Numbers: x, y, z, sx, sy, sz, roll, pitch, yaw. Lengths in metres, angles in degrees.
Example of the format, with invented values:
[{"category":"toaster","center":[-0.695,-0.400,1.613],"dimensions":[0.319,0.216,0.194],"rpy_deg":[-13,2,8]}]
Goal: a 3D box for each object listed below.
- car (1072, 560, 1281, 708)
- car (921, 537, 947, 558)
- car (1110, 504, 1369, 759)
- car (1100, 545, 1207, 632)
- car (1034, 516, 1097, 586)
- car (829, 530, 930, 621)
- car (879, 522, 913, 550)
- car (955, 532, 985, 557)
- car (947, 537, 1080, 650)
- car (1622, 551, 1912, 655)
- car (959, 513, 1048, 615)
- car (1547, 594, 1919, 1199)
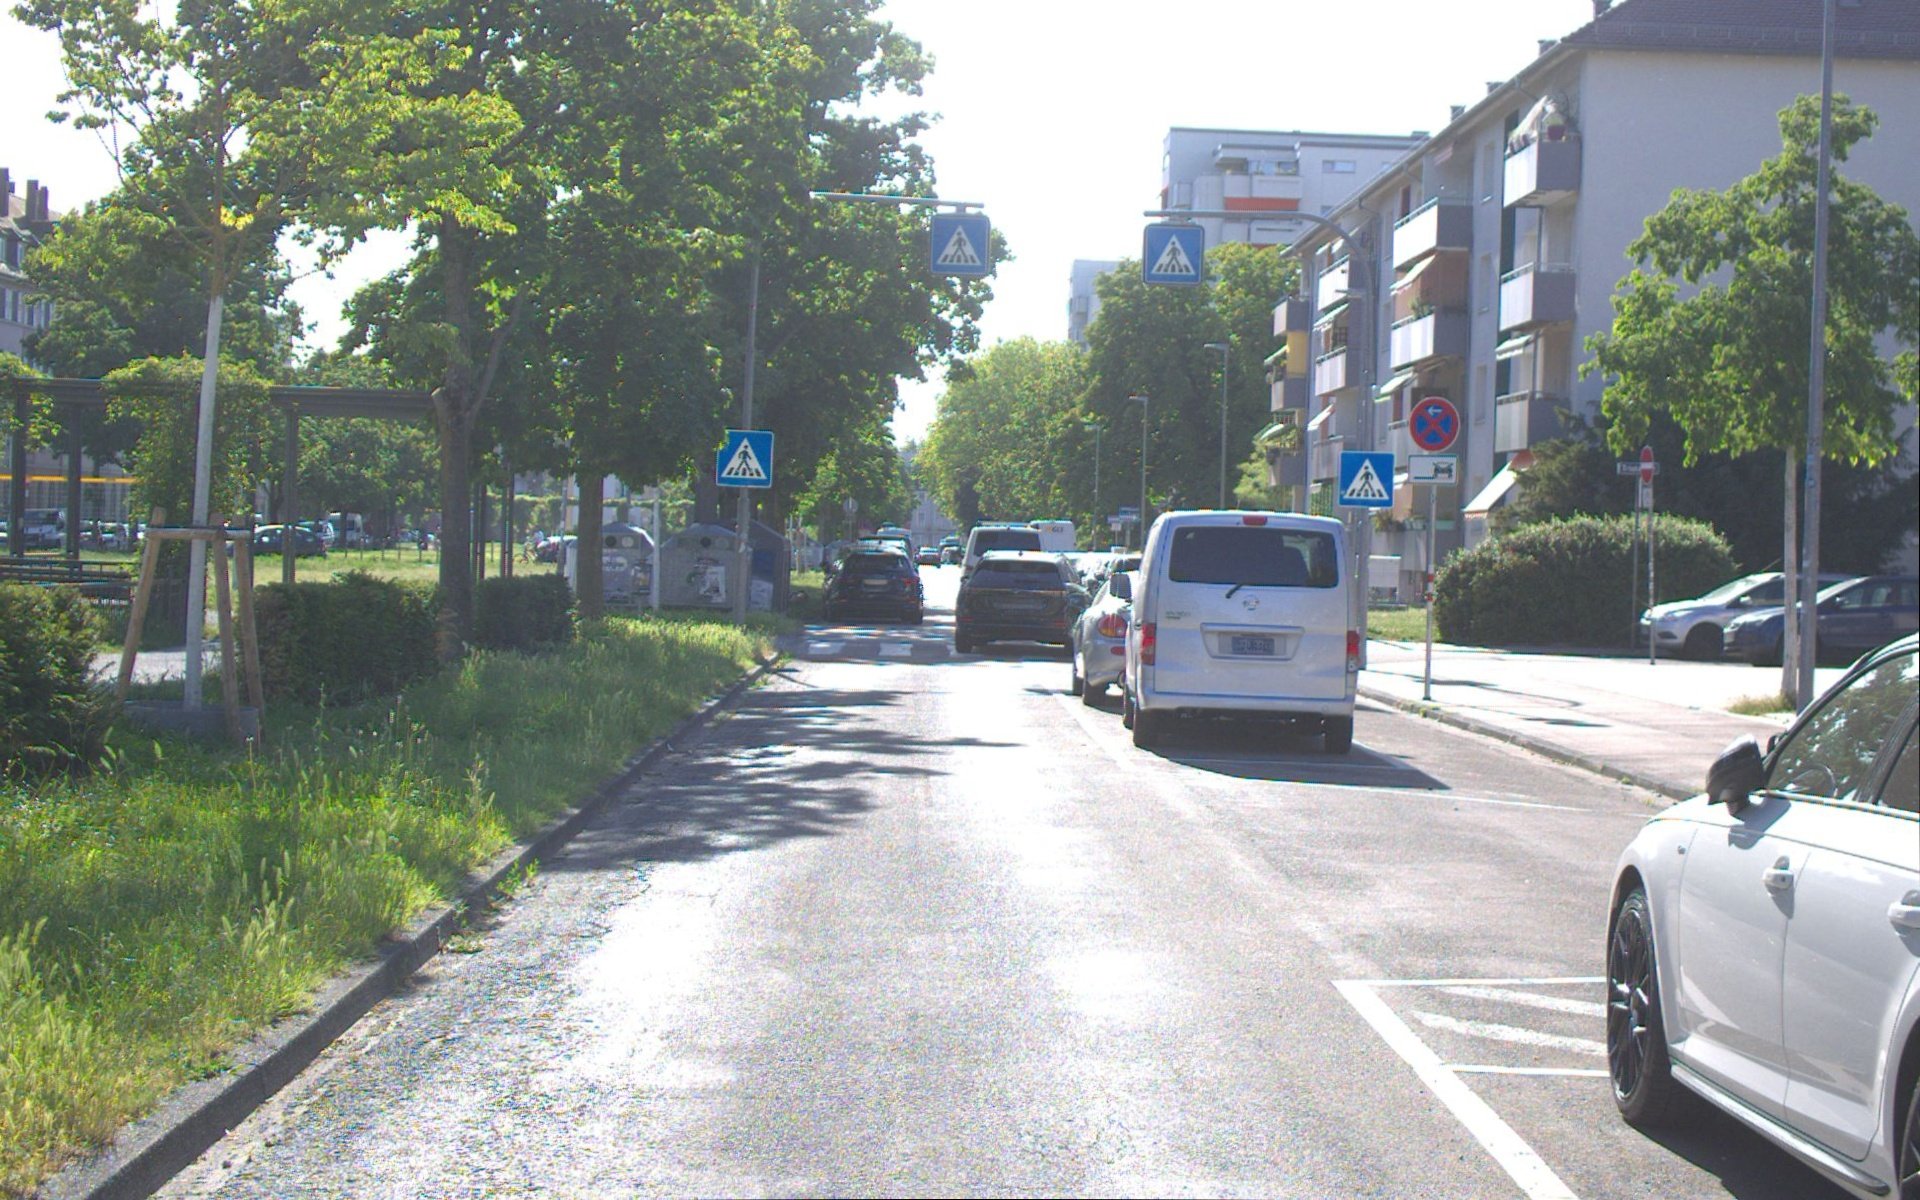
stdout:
[{"category":"car","center":[2.114,0.312,34.555],"dimensions":[1.764,1.314,4.168],"rpy_deg":[3,0,0]},{"category":"car","center":[-1.871,-3.771,246.738],"dimensions":[1.794,1.505,4.000],"rpy_deg":[1,1,0]},{"category":"car","center":[2.194,0.197,28.054],"dimensions":[1.794,1.848,4.413],"rpy_deg":[2,1,1]},{"category":"car","center":[3.788,-0.249,67.837],"dimensions":[1.794,1.595,4.000],"rpy_deg":[2,1,0]},{"category":"car","center":[3.848,-1.805,126.321],"dimensions":[1.993,2.422,4.500],"rpy_deg":[4,1,0]},{"category":"car","center":[-1.509,-0.483,65.614],"dimensions":[1.794,1.619,4.000],"rpy_deg":[2,1,0]},{"category":"car","center":[-3.548,-3.530,190.406],"dimensions":[1.794,1.505,4.000],"rpy_deg":[1,1,0]},{"category":"car","center":[0.606,-3.419,213.542],"dimensions":[1.794,1.505,4.000],"rpy_deg":[1,1,0]},{"category":"car","center":[0.735,-0.125,49.833],"dimensions":[1.794,1.505,4.000],"rpy_deg":[2,1,0]},{"category":"car","center":[13.785,0.060,58.859],"dimensions":[4.479,1.617,1.800],"rpy_deg":[2,-1,-3]},{"category":"car","center":[0.924,-0.801,75.062],"dimensions":[1.794,2.115,4.000],"rpy_deg":[2,1,0]},{"category":"car","center":[2.657,0.753,7.580],"dimensions":[1.794,1.415,4.658],"rpy_deg":[2,1,-1]}]
